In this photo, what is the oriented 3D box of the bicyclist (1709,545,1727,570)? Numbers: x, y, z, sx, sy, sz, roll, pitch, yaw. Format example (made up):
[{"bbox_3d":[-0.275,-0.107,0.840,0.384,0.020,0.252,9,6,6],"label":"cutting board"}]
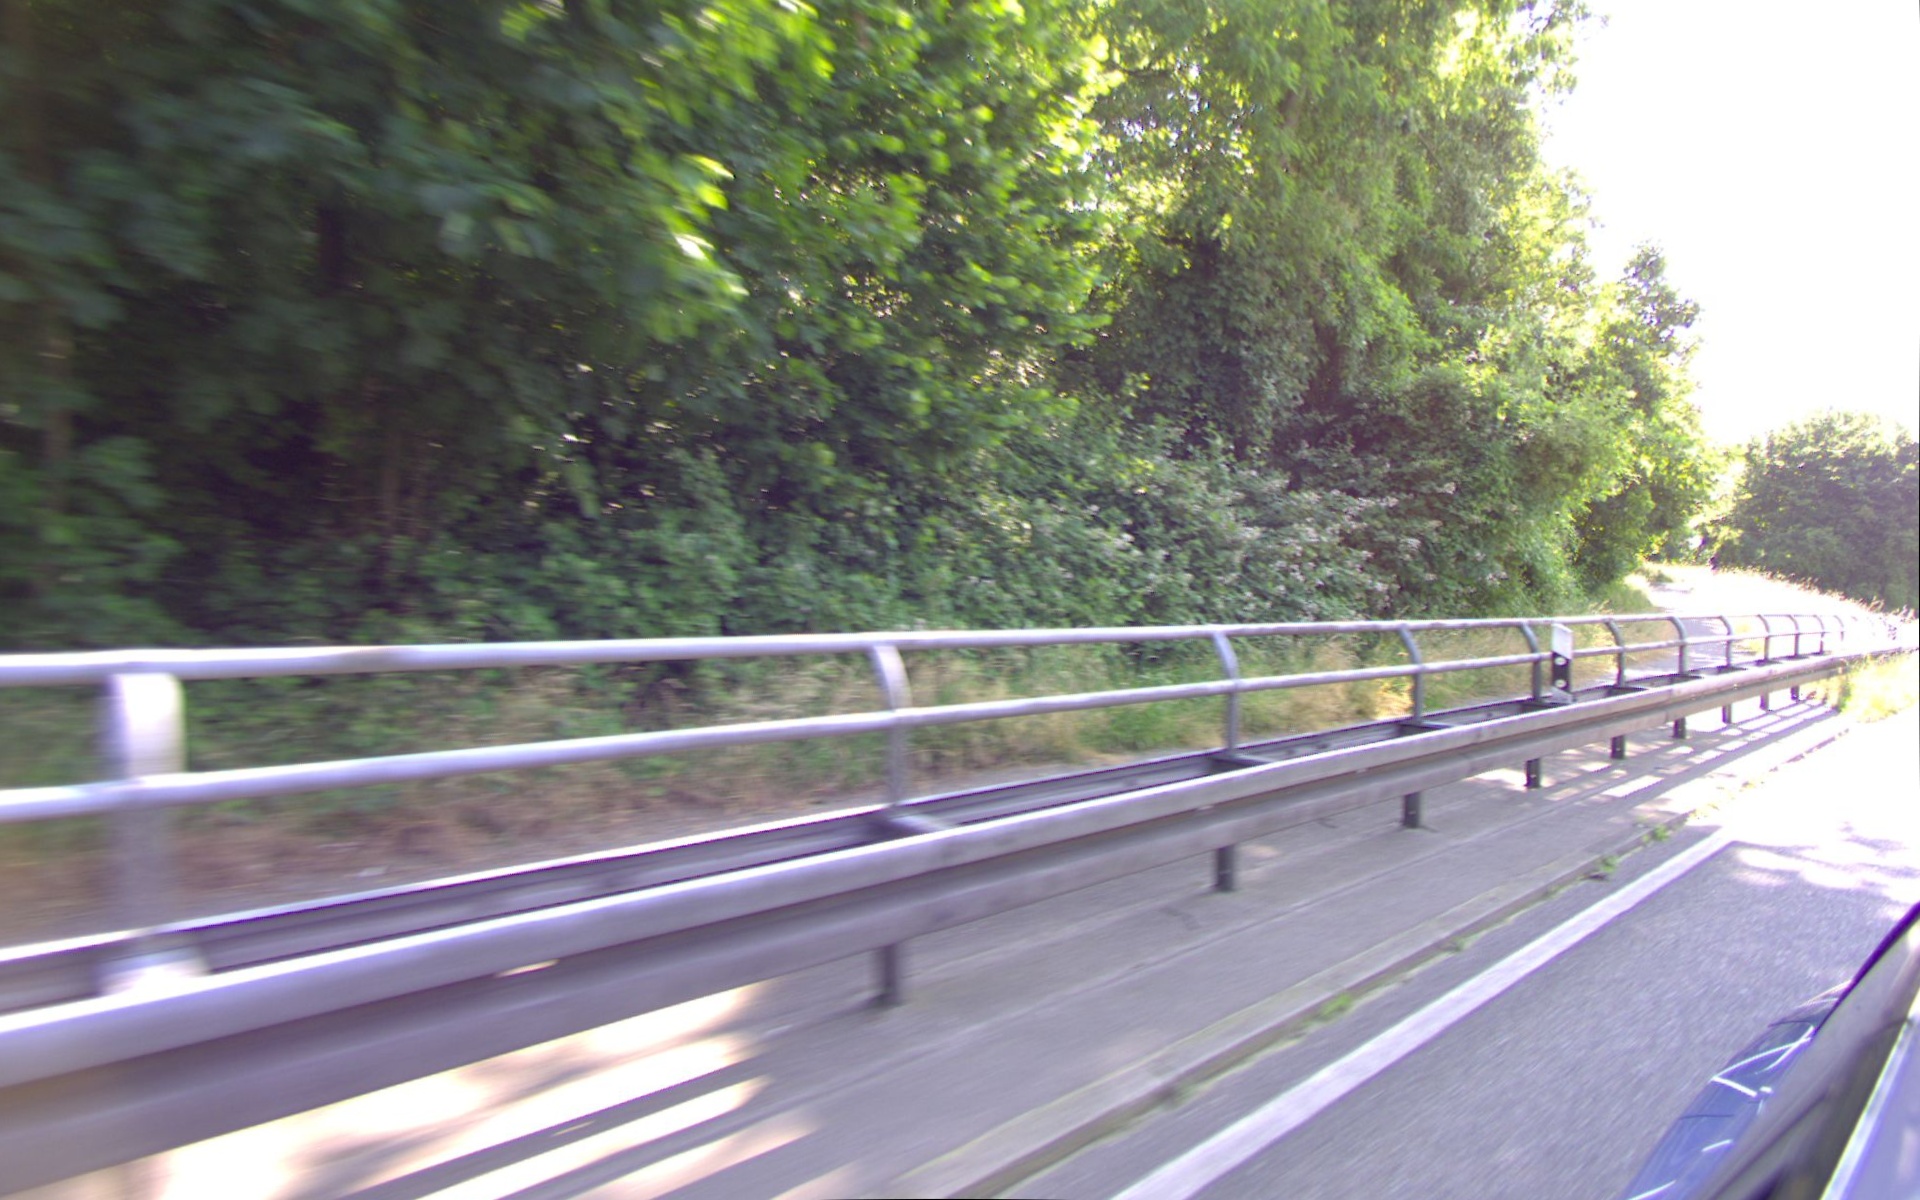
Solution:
[{"bbox_3d":[44.844,-2.491,59.881,0.770,1.442,0.805,0,-1,41],"label":"bicyclist"}]

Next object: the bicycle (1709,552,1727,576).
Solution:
[{"bbox_3d":[44.793,-2.101,59.812,0.770,1.335,1.703,0,-1,41],"label":"bicycle"}]
